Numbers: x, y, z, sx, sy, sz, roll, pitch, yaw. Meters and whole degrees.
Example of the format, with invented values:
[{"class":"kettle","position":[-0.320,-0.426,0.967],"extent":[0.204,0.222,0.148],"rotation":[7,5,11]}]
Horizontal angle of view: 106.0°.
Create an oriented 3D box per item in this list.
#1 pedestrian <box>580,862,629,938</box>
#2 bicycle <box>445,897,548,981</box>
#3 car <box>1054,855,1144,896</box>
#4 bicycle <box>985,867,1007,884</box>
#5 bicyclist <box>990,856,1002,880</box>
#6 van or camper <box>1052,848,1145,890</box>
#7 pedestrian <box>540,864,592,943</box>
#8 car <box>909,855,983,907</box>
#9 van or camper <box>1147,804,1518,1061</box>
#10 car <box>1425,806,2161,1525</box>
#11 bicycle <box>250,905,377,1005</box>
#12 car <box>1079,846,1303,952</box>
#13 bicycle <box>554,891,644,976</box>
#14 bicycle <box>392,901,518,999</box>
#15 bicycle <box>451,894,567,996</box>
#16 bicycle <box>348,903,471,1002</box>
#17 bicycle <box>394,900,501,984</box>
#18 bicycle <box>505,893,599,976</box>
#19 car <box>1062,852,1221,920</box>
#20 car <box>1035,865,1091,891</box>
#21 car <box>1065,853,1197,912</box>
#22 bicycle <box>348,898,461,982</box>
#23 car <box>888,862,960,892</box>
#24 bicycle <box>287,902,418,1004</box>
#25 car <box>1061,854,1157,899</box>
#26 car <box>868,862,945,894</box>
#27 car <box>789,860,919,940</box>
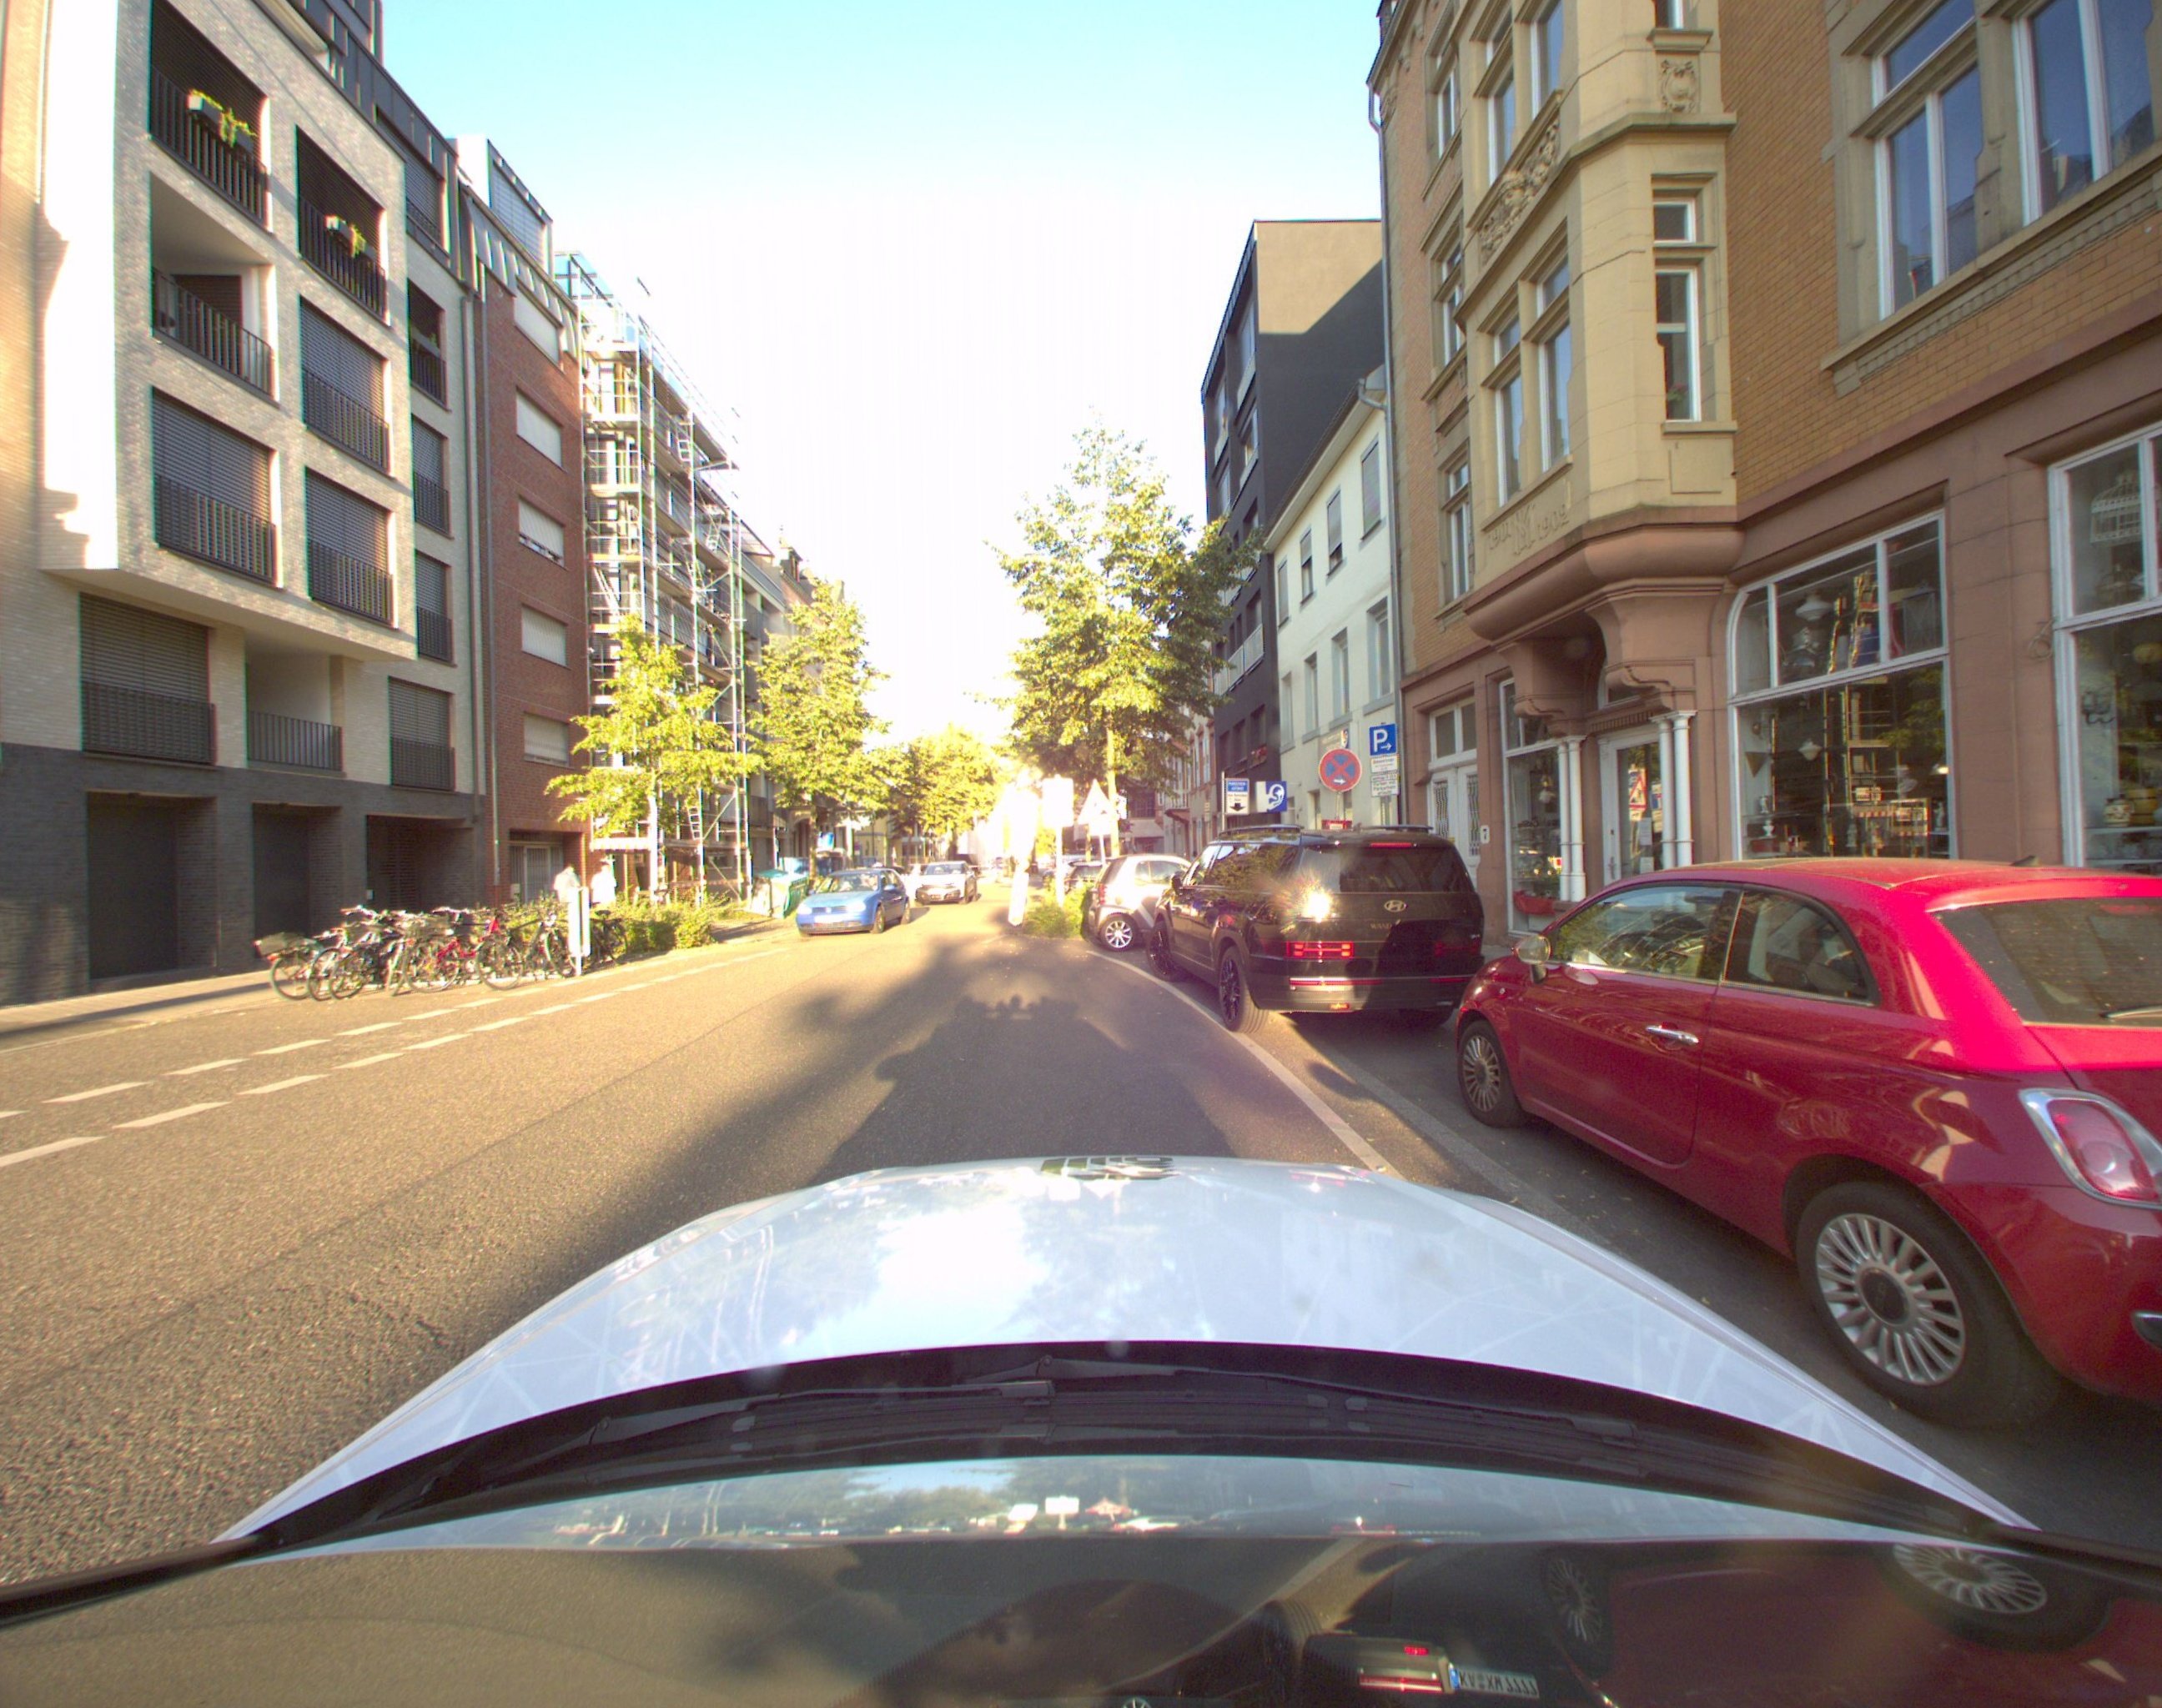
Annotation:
[{"class":"pedestrian","position":[-11.521,1.093,19.695],"extent":[0.739,1.783,0.656],"rotation":[-2,0,-3]},{"class":"bicycle","position":[-9.147,1.297,12.817],"extent":[0.486,1.149,1.551],"rotation":[-2,0,-1]},{"class":"car","position":[0.728,0.890,34.666],"extent":[3.677,1.670,1.856],"rotation":[0,0,-4]},{"class":"bicycle","position":[-5.918,1.457,56.479],"extent":[0.517,1.132,2.255],"rotation":[-1,0,-33]},{"class":"bicyclist","position":[-5.888,0.966,56.410],"extent":[0.501,1.606,0.756],"rotation":[-1,0,-33]},{"class":"van or camper","position":[0.822,0.713,39.801],"extent":[4.431,2.005,1.856],"rotation":[0,0,-4]},{"class":"pedestrian","position":[-11.989,1.140,18.987],"extent":[0.739,1.783,0.656],"rotation":[-2,0,-1]},{"class":"car","position":[-4.965,0.957,30.490],"extent":[1.866,1.697,4.322],"rotation":[-4,0,1]},{"class":"van or camper","position":[2.032,0.558,8.121],"extent":[1.887,1.807,4.450],"rotation":[-1,0,-7]},{"class":"car","position":[2.958,0.676,3.504],"extent":[1.520,1.570,3.421],"rotation":[-1,0,0]},{"class":"bicycle","position":[-10.409,1.338,11.105],"extent":[0.386,1.183,1.405],"rotation":[-2,0,-1]},{"class":"car","position":[1.812,0.713,13.848],"extent":[3.470,1.575,1.502],"rotation":[-2,0,-10]},{"class":"bicycle","position":[-7.627,1.225,12.955],"extent":[0.506,1.179,1.551],"rotation":[-2,0,-1]},{"class":"bicycle","position":[-8.546,1.275,11.196],"extent":[0.415,1.157,1.554],"rotation":[-2,0,4]},{"class":"bicycle","position":[-7.839,1.209,11.237],"extent":[0.496,1.220,1.551],"rotation":[-2,0,-1]},{"class":"bicycle","position":[-9.109,1.294,11.112],"extent":[0.379,1.159,1.551],"rotation":[-2,0,-1]},{"class":"bicycle","position":[-9.878,1.340,12.765],"extent":[0.466,1.144,1.551],"rotation":[-2,0,-1]},{"class":"bicycle","position":[-8.387,1.249,12.980],"extent":[0.486,1.163,1.551],"rotation":[-2,0,-1]},{"class":"car","position":[1.509,0.806,21.463],"extent":[3.987,1.670,1.856],"rotation":[0,0,-4]},{"class":"car","position":[-1.131,1.510,51.931],"extent":[1.834,1.568,3.720],"rotation":[-1,0,32]},{"class":"car","position":[1.406,0.807,24.006],"extent":[3.677,1.670,1.856],"rotation":[0,0,-4]},{"class":"bicycle","position":[-10.545,1.306,12.758],"extent":[0.456,1.132,1.551],"rotation":[-2,0,-1]},{"class":"car","position":[-9.535,1.384,49.751],"extent":[3.973,1.684,1.891],"rotation":[-1,0,1]},{"class":"bicycle","position":[-9.870,1.301,11.100],"extent":[0.385,1.189,1.551],"rotation":[-2,0,-1]},{"class":"car","position":[1.058,0.867,32.262],"extent":[3.677,1.670,1.856],"rotation":[0,0,-4]},{"class":"car","position":[-10.017,1.366,47.058],"extent":[3.973,1.684,1.891],"rotation":[-1,0,1]},{"class":"car","position":[-5.071,0.958,18.771],"extent":[1.682,1.563,4.119],"rotation":[-3,0,1]}]
